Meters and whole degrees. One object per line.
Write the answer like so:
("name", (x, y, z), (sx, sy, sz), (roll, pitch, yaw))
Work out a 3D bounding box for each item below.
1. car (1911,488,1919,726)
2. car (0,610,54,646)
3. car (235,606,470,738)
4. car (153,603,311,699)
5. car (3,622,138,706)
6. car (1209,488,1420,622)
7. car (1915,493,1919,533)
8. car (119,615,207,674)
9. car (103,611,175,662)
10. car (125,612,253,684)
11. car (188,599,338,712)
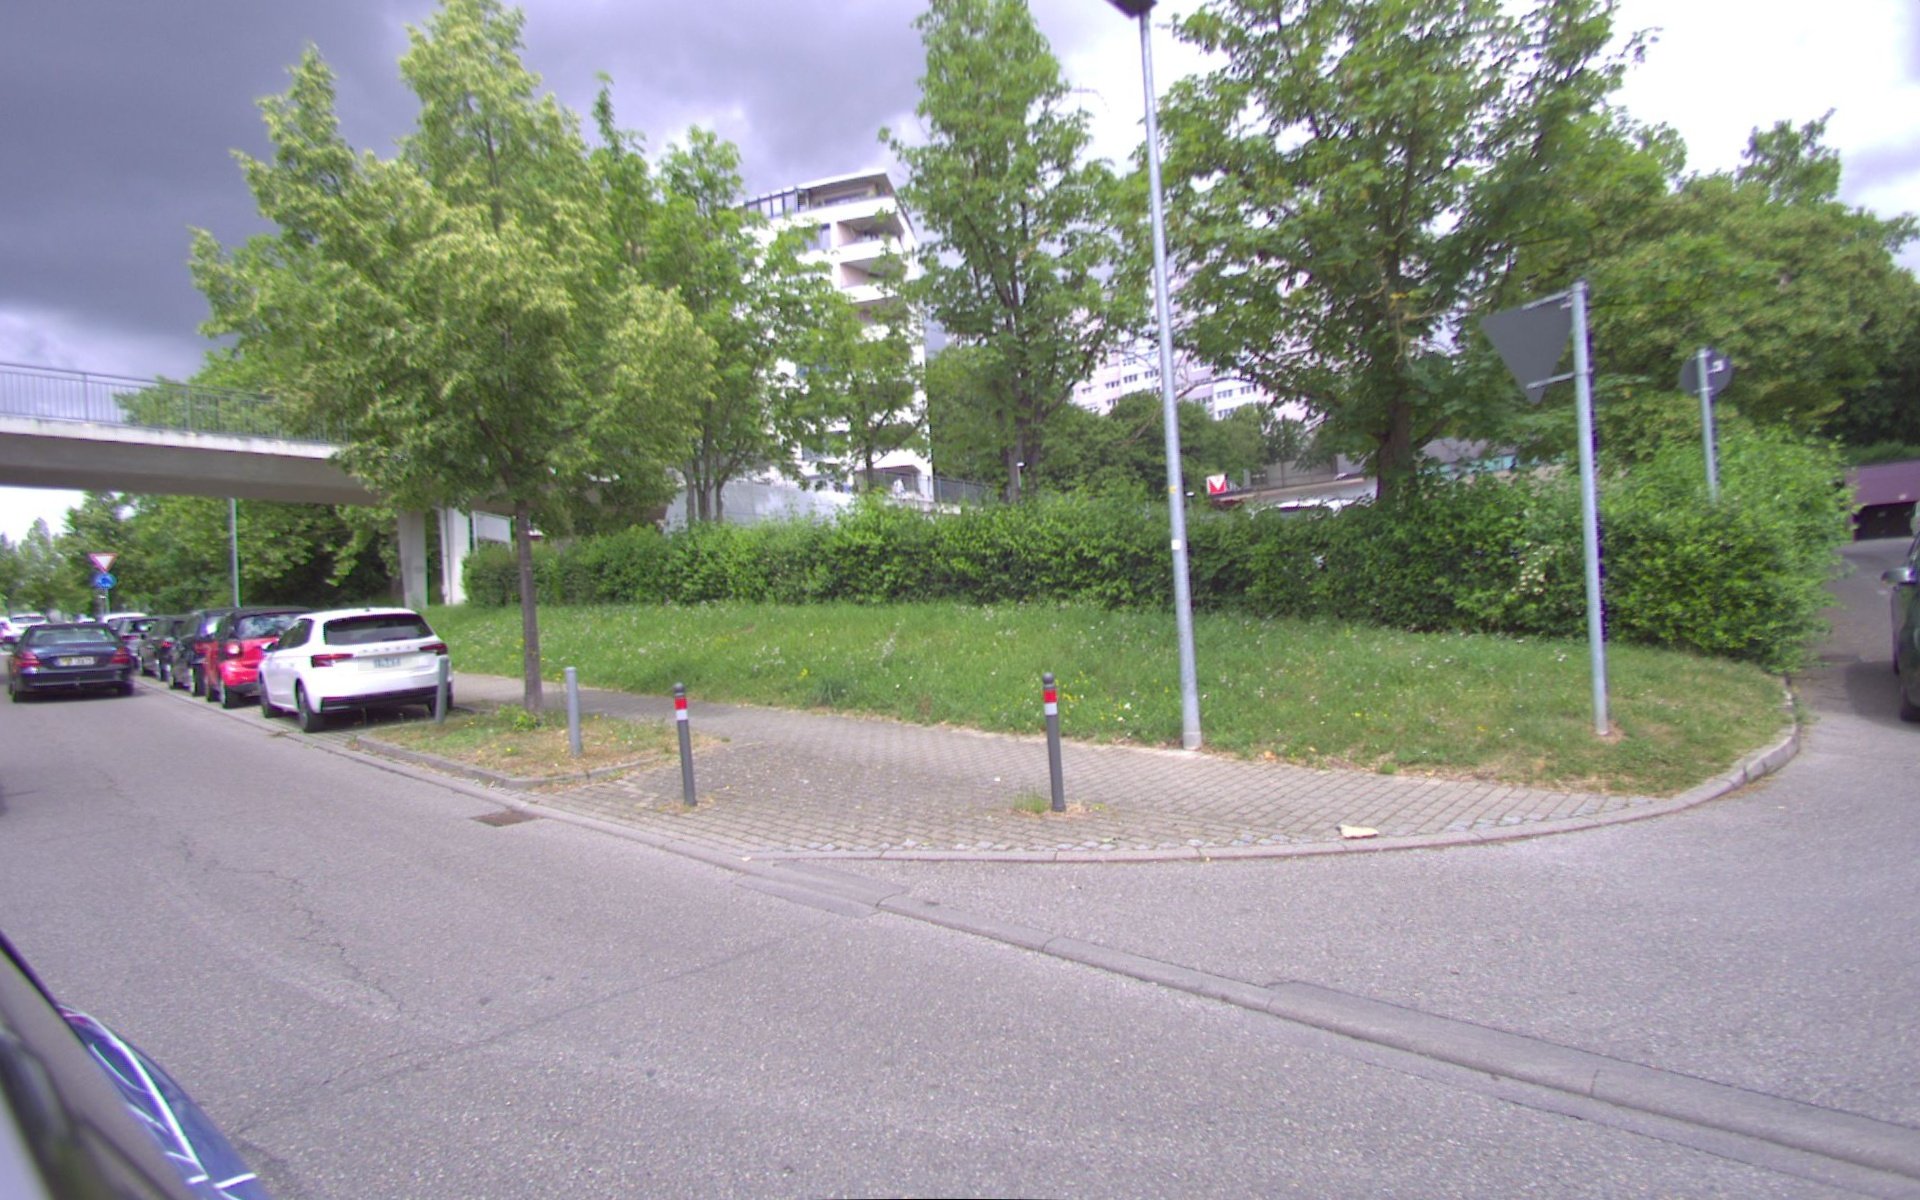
("car", (8.729, -0.091, 7.983), (1.758, 1.674, 4.062), (-1, 3, 44))
("car", (-43.483, 1.281, 46.980), (3.723, 1.582, 1.788), (-1, 0, 44))
("car", (-8.418, 0.866, 13.881), (1.788, 1.415, 4.050), (-5, 3, -45))
("car", (-14.458, 0.953, 20.024), (3.986, 1.596, 1.788), (-2, 2, 44))
("car", (-17.476, 1.174, 19.805), (1.732, 1.430, 4.370), (0, -1, -45))
("car", (6.084, -0.812, 17.090), (1.999, 1.872, 3.948), (-1, 6, 41))
("car", (45.453, -4.118, 46.362), (1.790, 1.839, 3.954), (-2, 0, 34))
("car", (-23.319, 1.230, 29.574), (1.786, 1.466, 3.867), (-5, 3, -40))
("car", (-27.481, 1.172, 33.839), (1.786, 1.582, 3.728), (-1, 0, -41))
("car", (-18.790, 1.096, 24.596), (4.488, 1.491, 1.788), (-1, 2, 44))
("car", (-11.751, 0.864, 17.021), (1.576, 1.596, 2.688), (-7, 4, -43))
